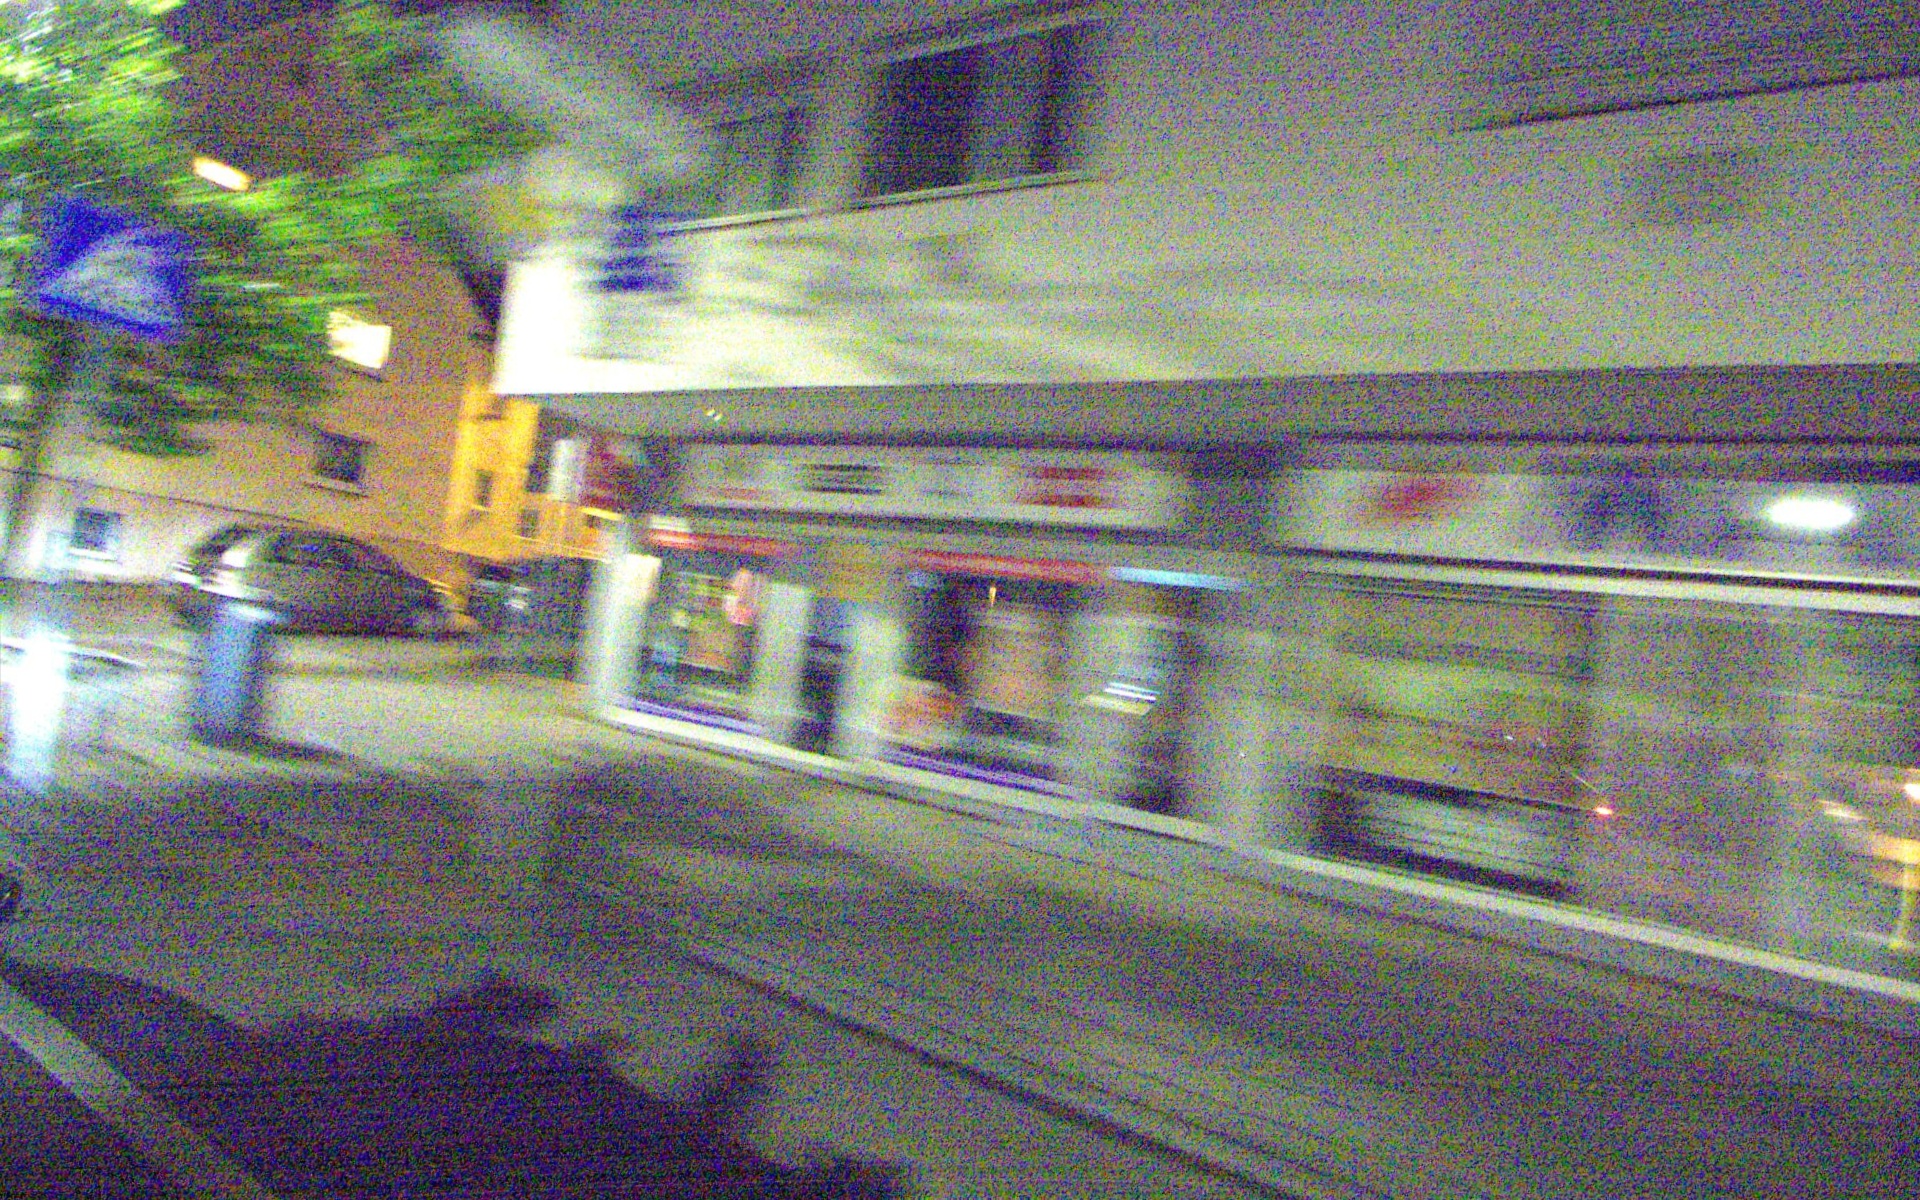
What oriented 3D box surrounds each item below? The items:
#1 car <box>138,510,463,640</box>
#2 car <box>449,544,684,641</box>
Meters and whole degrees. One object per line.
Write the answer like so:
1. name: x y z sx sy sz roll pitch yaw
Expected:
1. car: -9.545 -0.299 14.817 1.789 1.544 3.510 7 1 29
2. car: -7.190 -0.089 18.764 1.648 1.516 3.847 6 1 29
